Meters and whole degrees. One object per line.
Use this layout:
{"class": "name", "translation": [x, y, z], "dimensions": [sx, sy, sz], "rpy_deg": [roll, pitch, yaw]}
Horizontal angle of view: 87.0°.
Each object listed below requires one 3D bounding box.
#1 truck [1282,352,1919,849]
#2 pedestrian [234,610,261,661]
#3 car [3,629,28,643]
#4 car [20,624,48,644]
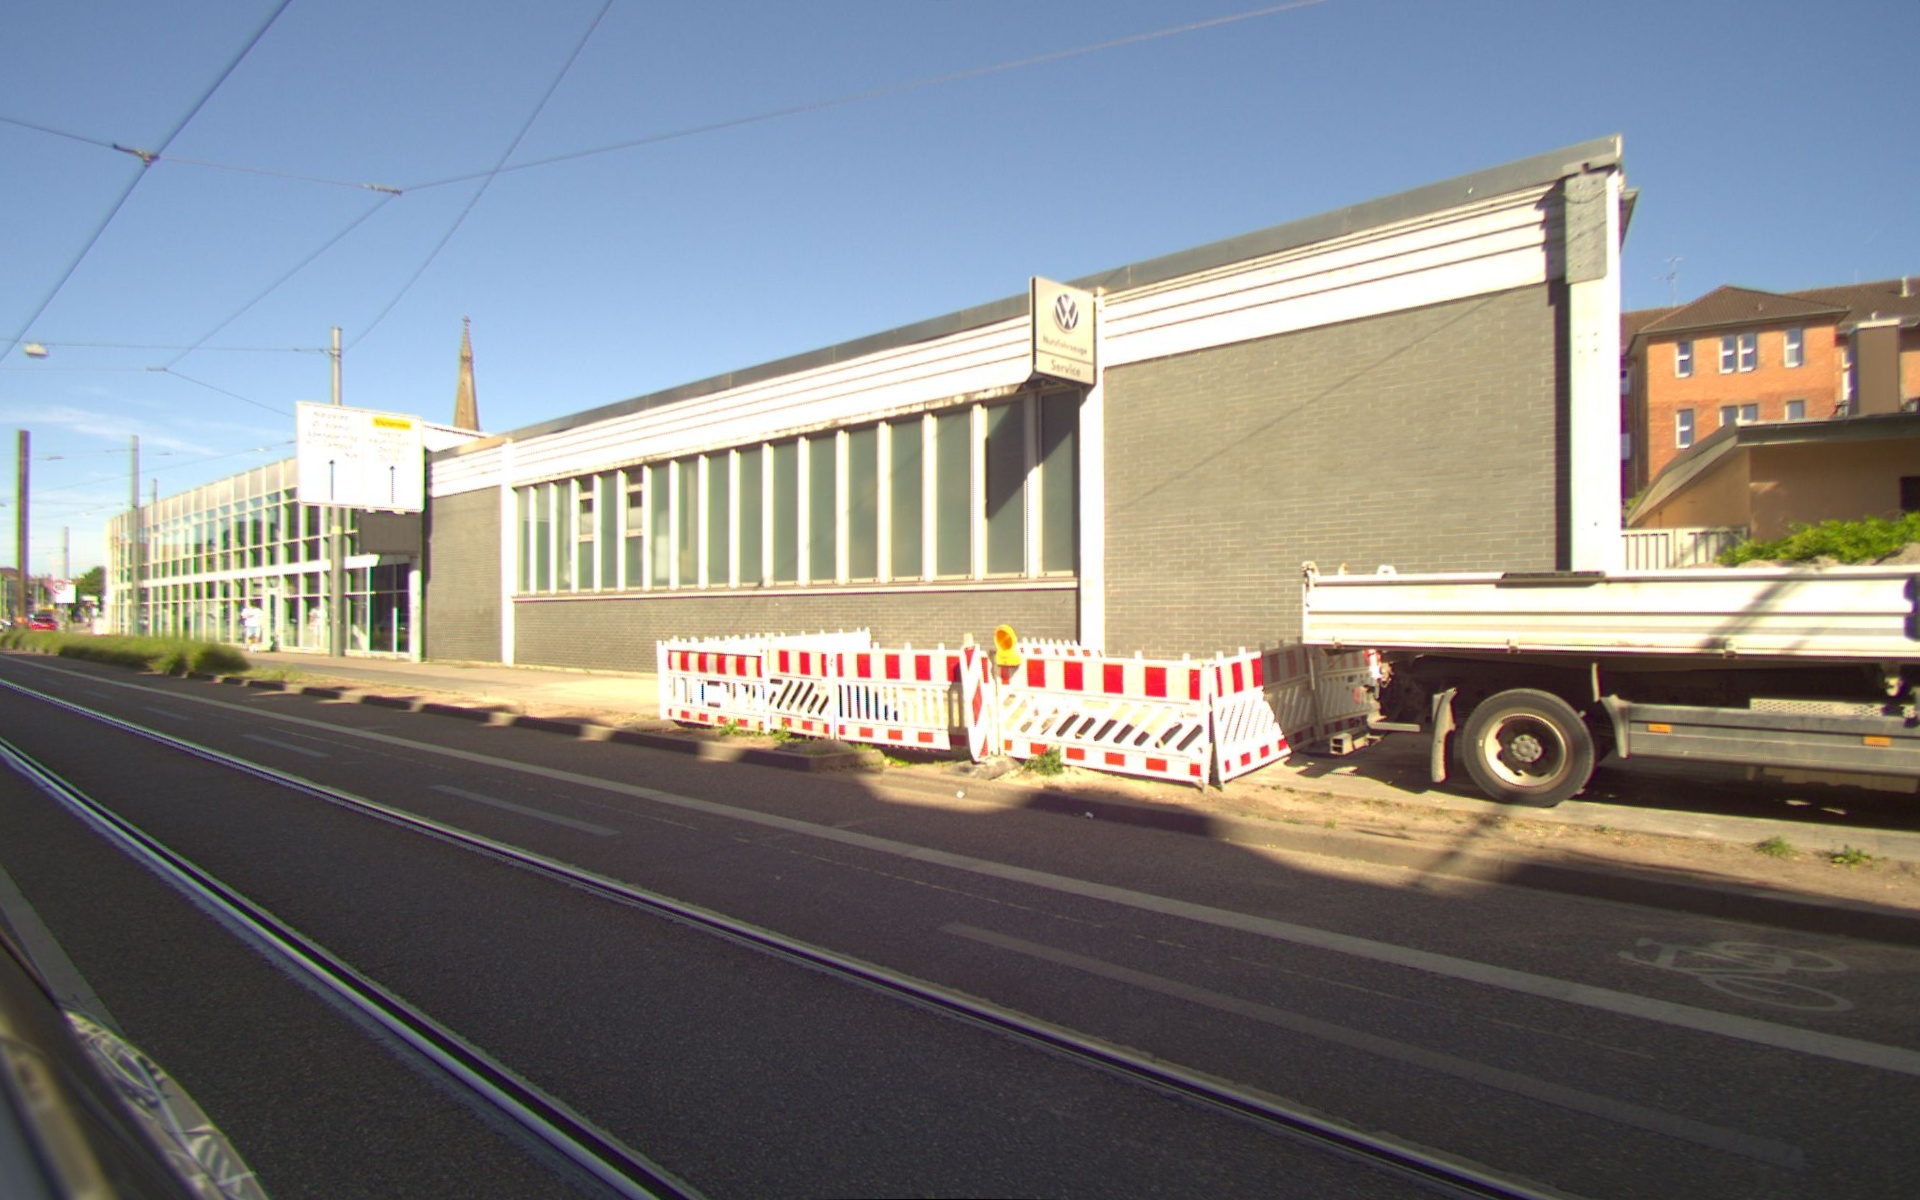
{"class": "truck", "translation": [5.863, -0.010, 7.136], "dimensions": [6.367, 2.851, 2.514], "rpy_deg": [-1, 0, 38]}
{"class": "pedestrian", "translation": [-25.462, 1.256, 36.177], "dimensions": [1.050, 1.778, 0.521], "rpy_deg": [-1, 0, 41]}
{"class": "car", "translation": [-103.266, 3.903, 110.641], "dimensions": [3.970, 1.490, 1.632], "rpy_deg": [-1, -3, 42]}
{"class": "car", "translation": [-84.570, 3.071, 92.389], "dimensions": [1.778, 1.732, 4.421], "rpy_deg": [2, -2, -43]}
